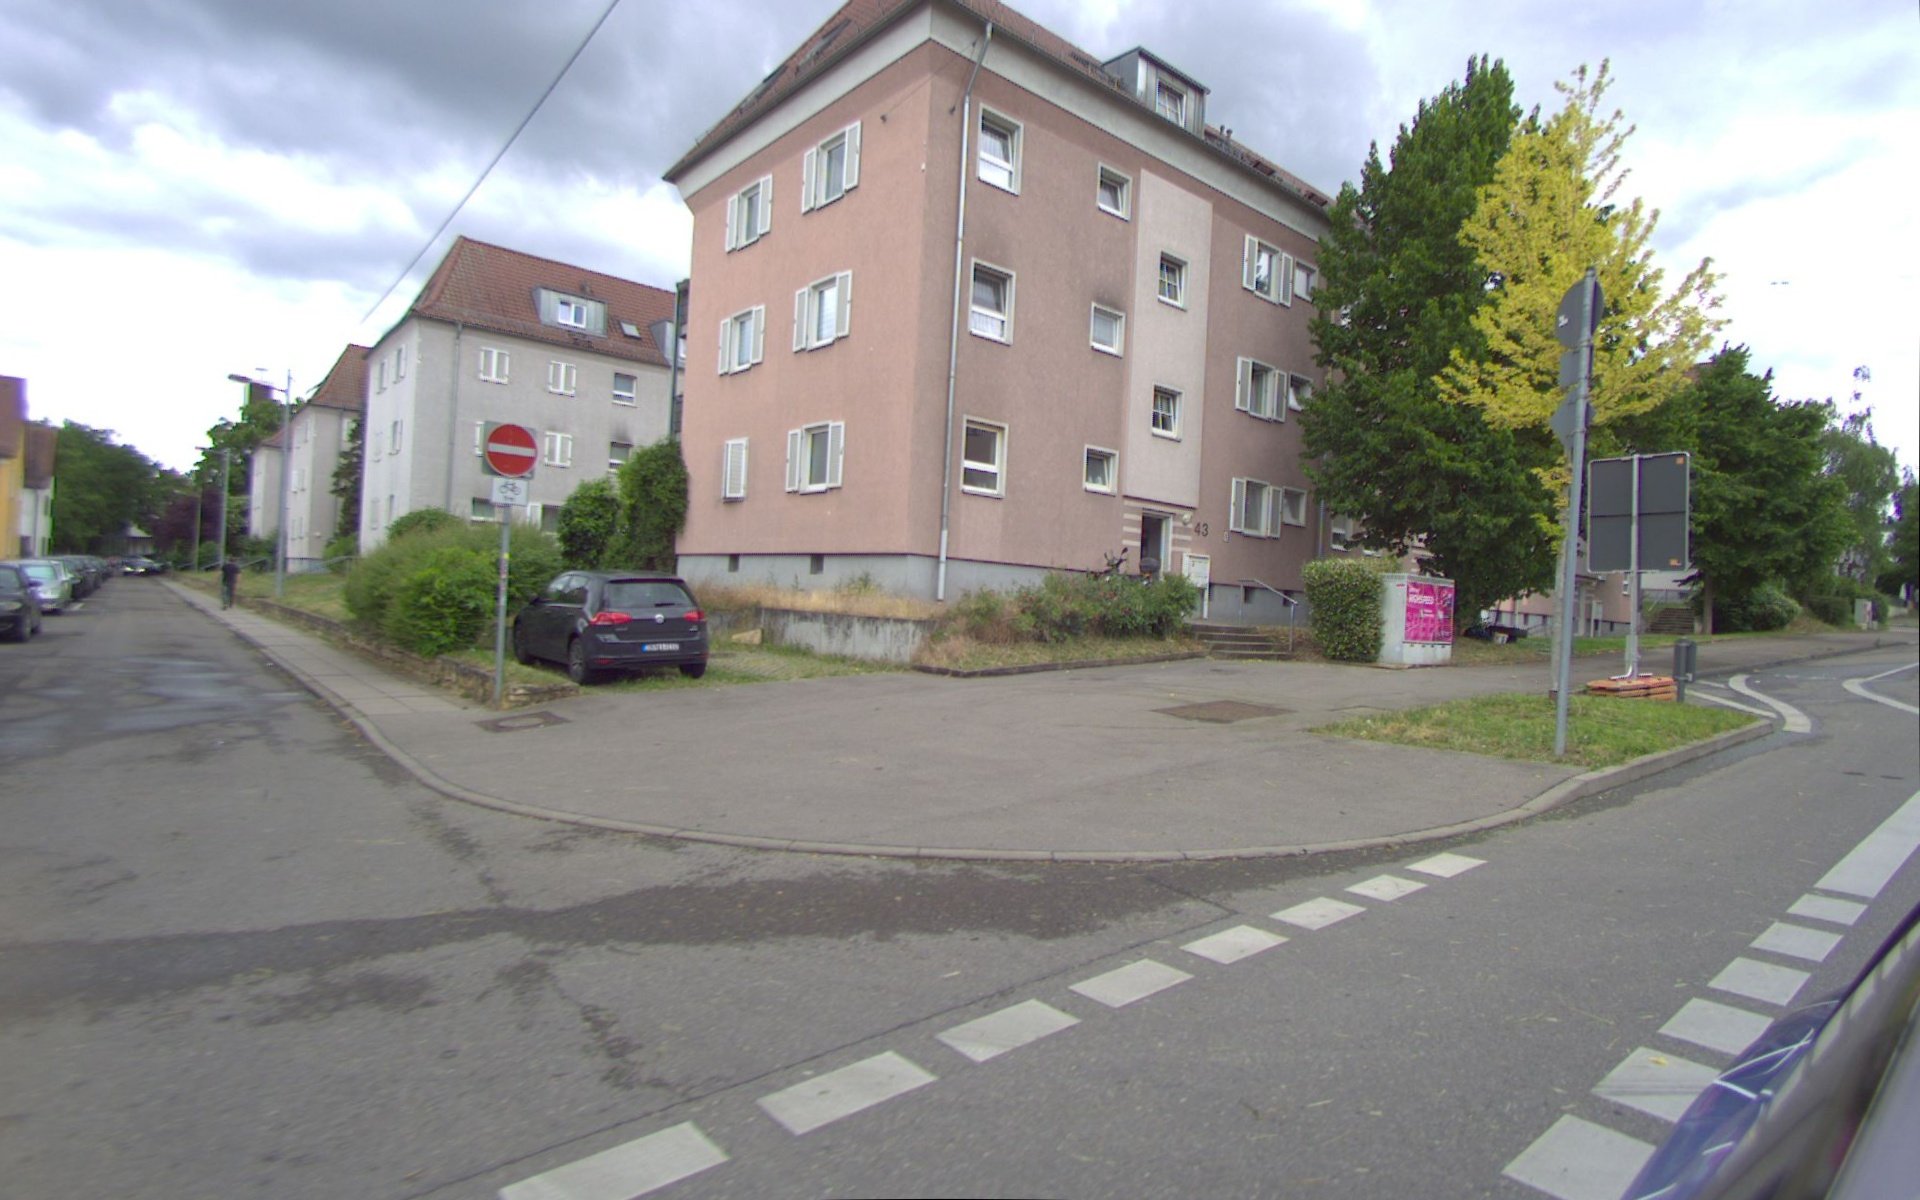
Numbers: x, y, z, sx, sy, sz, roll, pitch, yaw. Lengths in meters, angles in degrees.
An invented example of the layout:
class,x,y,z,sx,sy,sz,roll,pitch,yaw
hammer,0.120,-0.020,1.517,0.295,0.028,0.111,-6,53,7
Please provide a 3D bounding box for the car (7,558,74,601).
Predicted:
class,x,y,z,sx,sy,sz,roll,pitch,yaw
car,-32.491,-0.725,35.725,1.676,1.438,3.991,0,1,-43

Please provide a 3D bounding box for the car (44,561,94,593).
class,x,y,z,sx,sy,sz,roll,pitch,yaw
car,-41.935,-1.085,47.680,1.675,1.438,3.994,0,1,-41

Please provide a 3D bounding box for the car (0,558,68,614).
class,x,y,z,sx,sy,sz,roll,pitch,yaw
car,-25.418,-0.400,27.464,1.676,1.438,3.991,0,1,-43

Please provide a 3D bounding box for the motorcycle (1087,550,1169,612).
class,x,y,z,sx,sy,sz,roll,pitch,yaw
motorcycle,3.512,-0.388,21.068,1.933,1.242,0.591,0,1,-41

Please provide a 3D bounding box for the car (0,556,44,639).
class,x,y,z,sx,sy,sz,roll,pitch,yaw
car,-18.069,-0.092,18.644,1.676,1.438,3.991,0,1,-43

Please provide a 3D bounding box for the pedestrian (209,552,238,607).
class,x,y,z,sx,sy,sz,roll,pitch,yaw
pedestrian,-24.711,-0.671,33.967,0.705,1.818,0.732,1,0,-42

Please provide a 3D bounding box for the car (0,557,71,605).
class,x,y,z,sx,sy,sz,roll,pitch,yaw
car,-29.595,-0.618,32.299,1.676,1.438,3.991,0,1,-43

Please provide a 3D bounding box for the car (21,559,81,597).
class,x,y,z,sx,sy,sz,roll,pitch,yaw
car,-36.931,-0.892,41.175,1.675,1.438,3.994,0,1,-41

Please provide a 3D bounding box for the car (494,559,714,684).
class,x,y,z,sx,sy,sz,roll,pitch,yaw
car,-5.130,0.174,14.284,1.659,1.470,3.996,-2,3,-39
